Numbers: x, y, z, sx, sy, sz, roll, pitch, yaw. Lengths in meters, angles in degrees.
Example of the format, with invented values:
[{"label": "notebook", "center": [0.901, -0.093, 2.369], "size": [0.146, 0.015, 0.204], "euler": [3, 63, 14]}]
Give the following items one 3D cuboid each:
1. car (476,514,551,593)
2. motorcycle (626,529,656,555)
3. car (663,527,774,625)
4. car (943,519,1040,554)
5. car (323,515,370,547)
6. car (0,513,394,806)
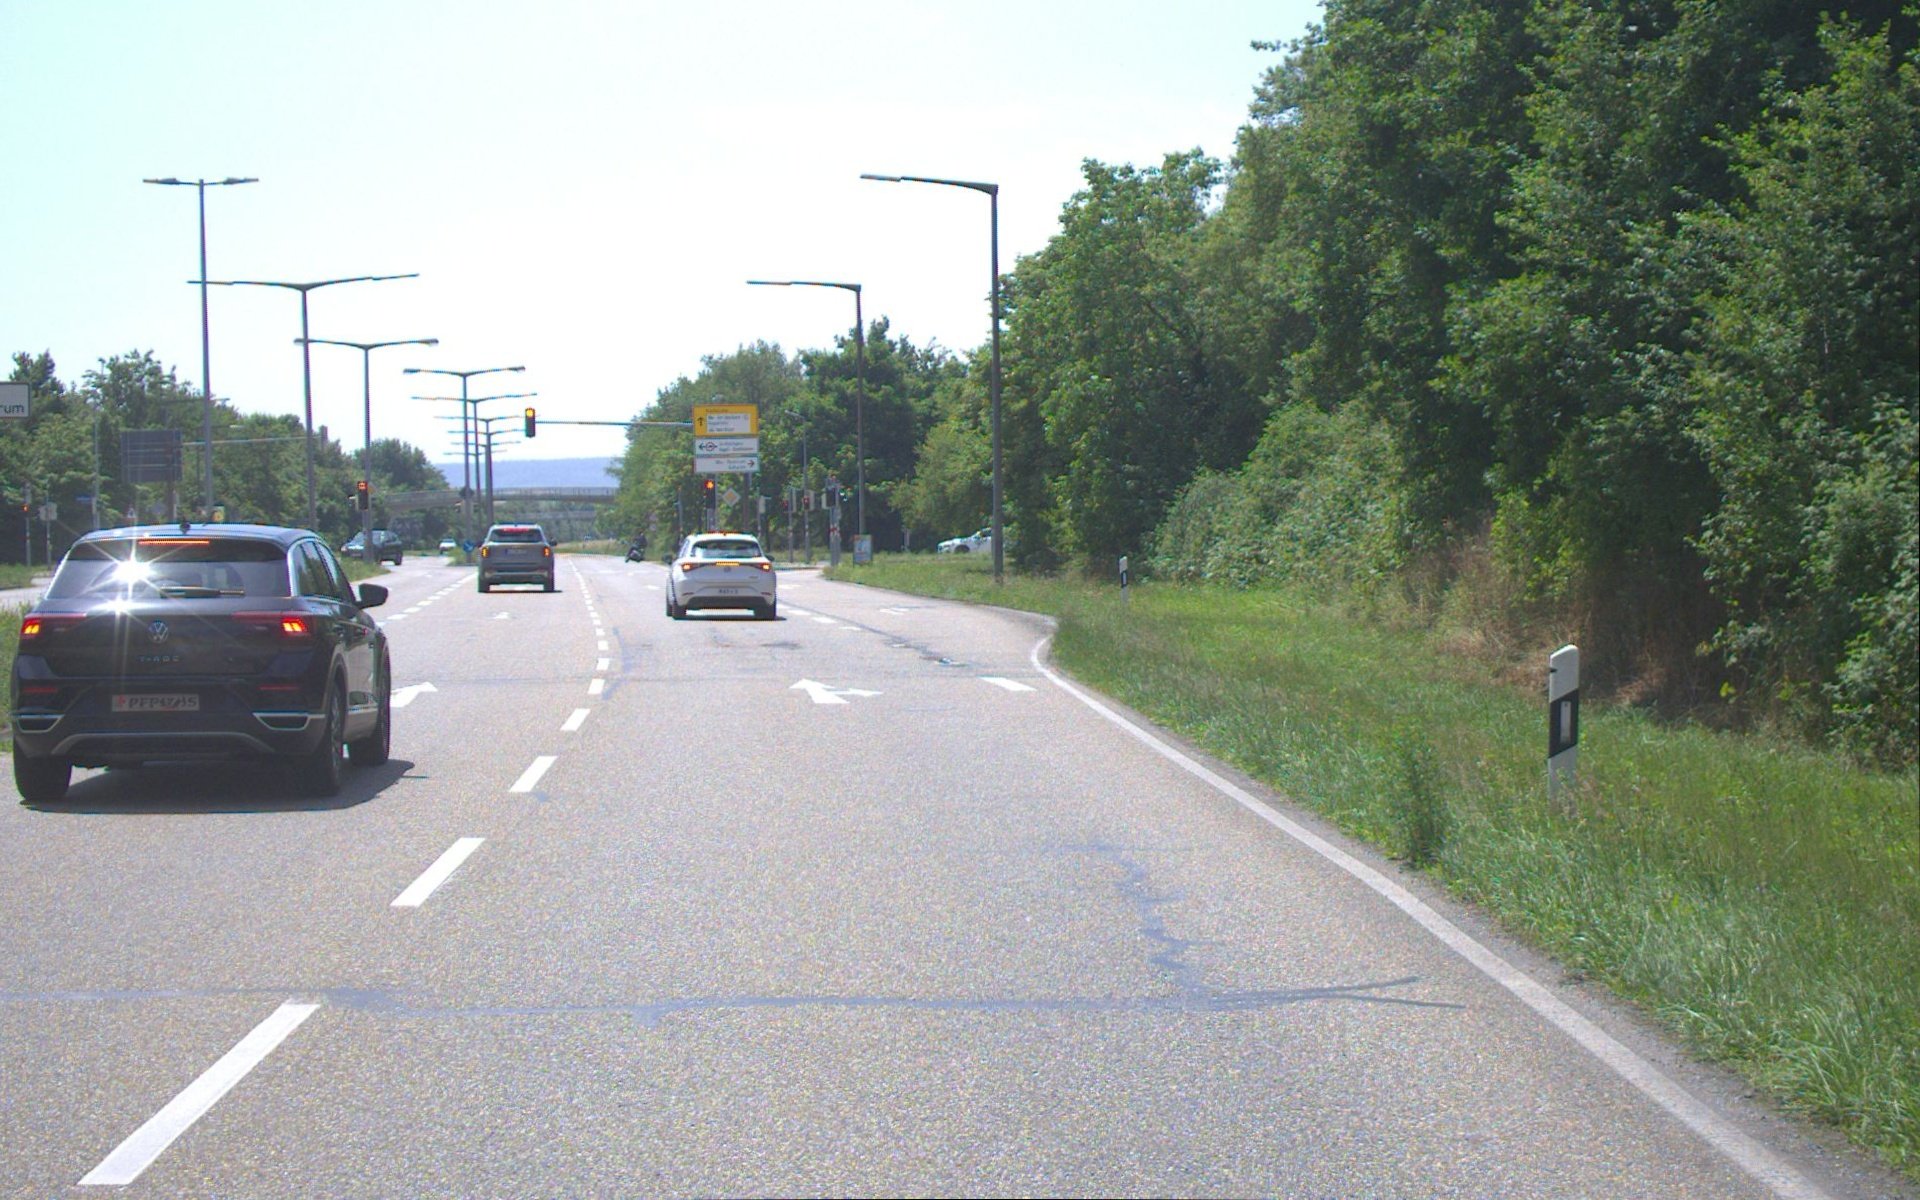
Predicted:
[{"label": "car", "center": [-11.304, -1.185, 87.215], "size": [1.755, 1.922, 4.001], "euler": [-1, 1, -6]}, {"label": "motorcycle", "center": [-16.422, -2.971, 176.681], "size": [1.424, 1.276, 2.569], "euler": [-2, 1, -6]}, {"label": "car", "center": [-4.106, -0.434, 58.848], "size": [1.797, 1.577, 4.001], "euler": [-1, 1, -3]}, {"label": "car", "center": [1.440, -2.929, 158.159], "size": [4.100, 1.520, 1.939], "euler": [-1, 1, -14]}, {"label": "car", "center": [-29.926, -3.381, 167.739], "size": [1.828, 1.514, 4.001], "euler": [0, 1, -4]}, {"label": "car", "center": [-4.450, 0.284, 20.386], "size": [1.755, 1.550, 4.001], "euler": [-1, 1, -4]}]
